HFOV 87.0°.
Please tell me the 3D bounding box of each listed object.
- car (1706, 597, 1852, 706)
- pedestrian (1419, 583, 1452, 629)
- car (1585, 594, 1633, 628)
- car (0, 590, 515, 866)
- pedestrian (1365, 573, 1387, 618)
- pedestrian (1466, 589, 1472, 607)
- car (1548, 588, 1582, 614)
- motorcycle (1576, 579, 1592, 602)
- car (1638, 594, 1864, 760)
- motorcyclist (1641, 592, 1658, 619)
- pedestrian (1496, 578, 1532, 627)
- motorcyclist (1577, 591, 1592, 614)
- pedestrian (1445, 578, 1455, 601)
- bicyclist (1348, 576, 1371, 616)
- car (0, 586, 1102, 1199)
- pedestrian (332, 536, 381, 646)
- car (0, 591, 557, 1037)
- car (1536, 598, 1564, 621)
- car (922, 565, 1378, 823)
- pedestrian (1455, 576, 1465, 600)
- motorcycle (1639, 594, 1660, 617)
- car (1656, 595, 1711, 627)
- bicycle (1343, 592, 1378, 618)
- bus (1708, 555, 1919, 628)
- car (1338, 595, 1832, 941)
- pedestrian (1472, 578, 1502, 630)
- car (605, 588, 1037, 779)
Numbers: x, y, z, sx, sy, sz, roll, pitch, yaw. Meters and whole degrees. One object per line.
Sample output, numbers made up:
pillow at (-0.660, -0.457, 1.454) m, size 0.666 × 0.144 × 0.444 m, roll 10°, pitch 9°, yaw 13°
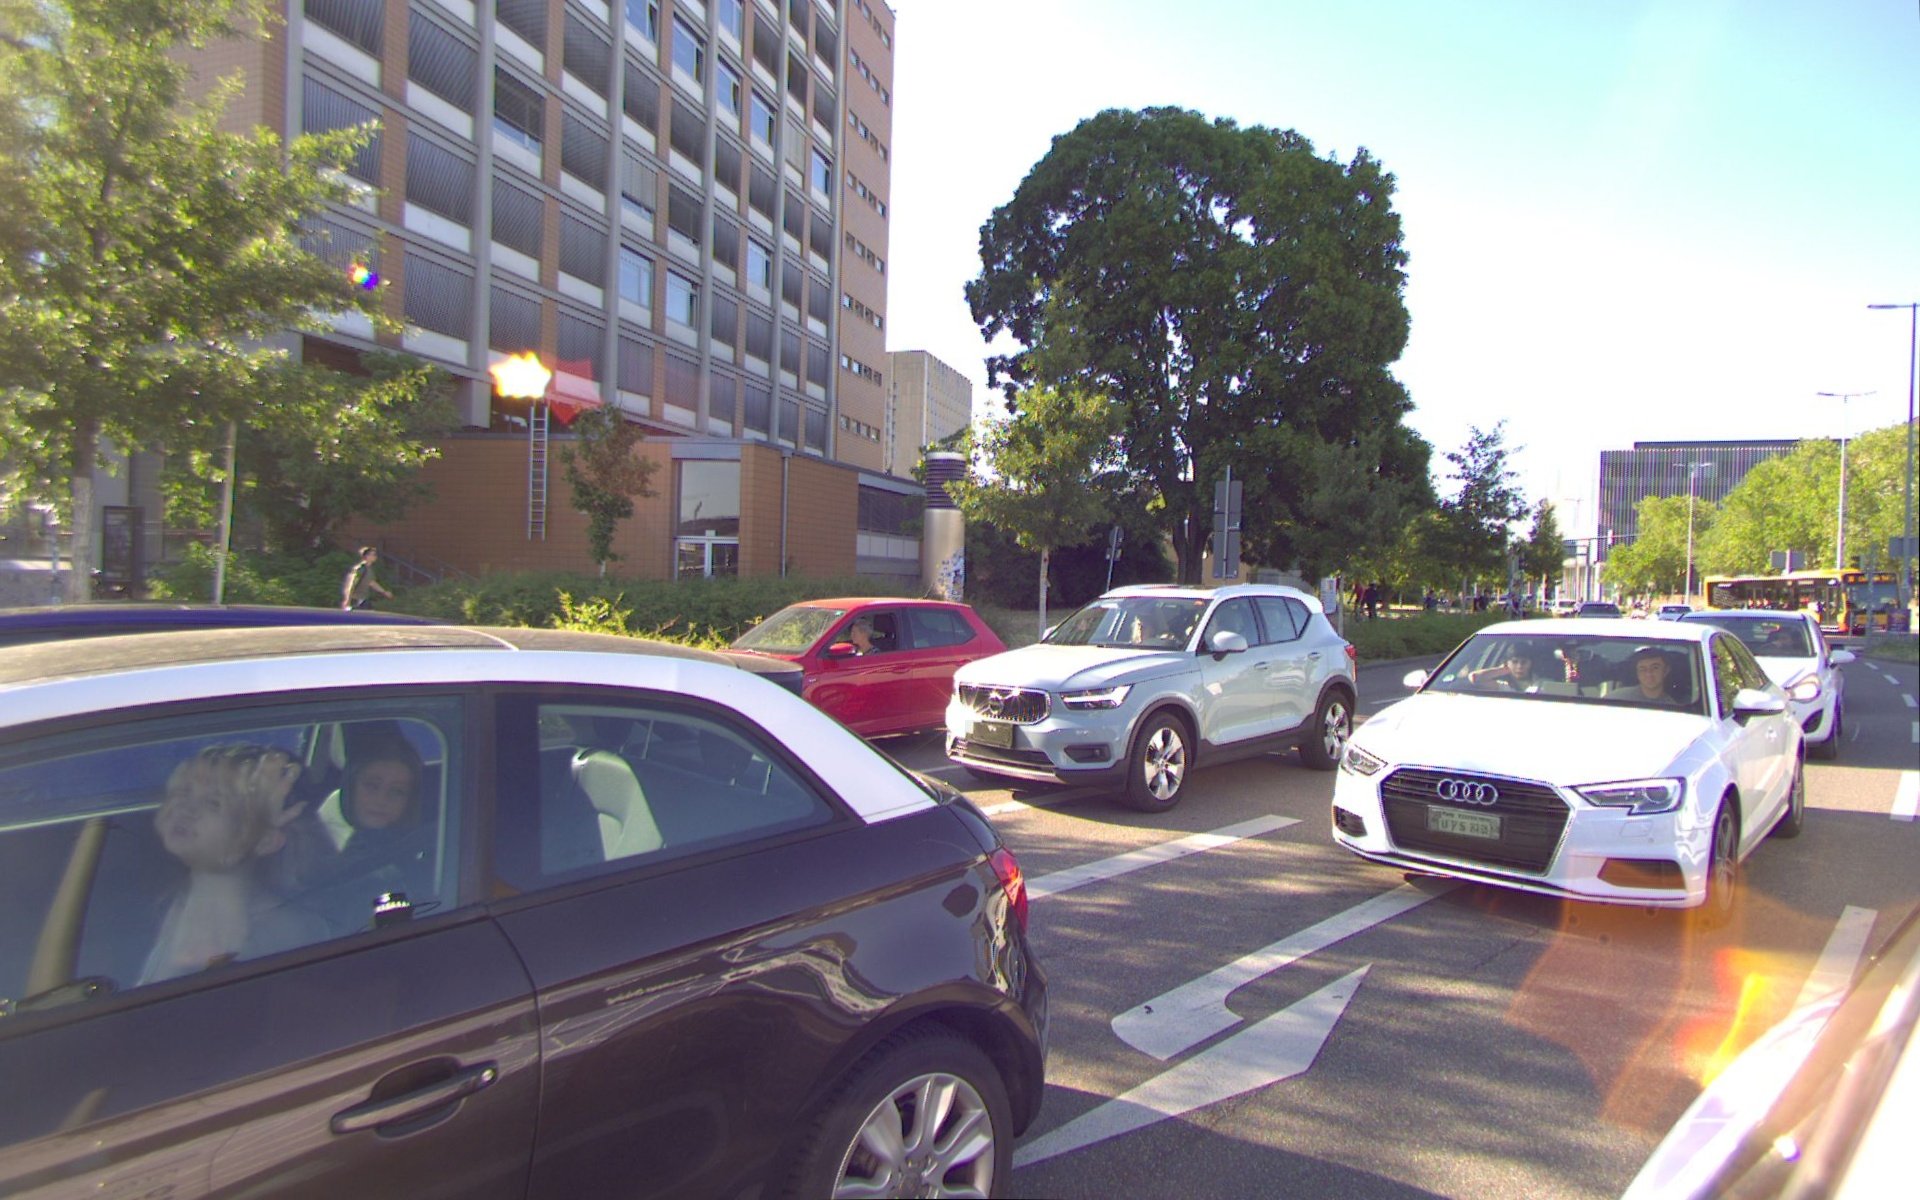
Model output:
car at (13.114, 0.712, 16.120) m, size 1.622 × 1.478 × 3.981 m, roll 0°, pitch 0°, yaw 42°
pedestrian at (18.401, 0.234, 39.163) m, size 1.005 × 1.742 × 0.873 m, roll 0°, pitch 0°, yaw 39°
car at (29.731, 0.473, 46.305) m, size 1.745 × 1.478 × 4.137 m, roll 0°, pitch 0°, yaw 34°
car at (-5.272, 0.660, 6.127) m, size 4.433 × 1.422 × 1.726 m, roll -1°, pitch 0°, yaw -41°
pedestrian at (15.081, -0.166, 36.709) m, size 0.593 × 1.615 × 0.586 m, roll 0°, pitch 0°, yaw 41°
pedestrian at (50.553, -0.190, 100.474) m, size 0.475 × 1.706 × 0.399 m, roll 1°, pitch 1°, yaw -41°
car at (42.512, 0.075, 71.122) m, size 1.730 × 1.727 × 3.962 m, roll 2°, pitch 1°, yaw 27°
motorcycle at (36.995, -0.580, 59.971) m, size 0.712 × 1.321 × 2.211 m, roll 0°, pitch 0°, yaw 30°
car at (8.876, 0.690, 11.225) m, size 1.623 × 1.478 × 3.979 m, roll 0°, pitch 1°, yaw 43°
motorcyclist at (40.225, 0.314, 59.031) m, size 0.704 × 1.610 × 0.684 m, roll 0°, pitch 0°, yaw 27°
pedestrian at (23.438, 0.107, 42.842) m, size 1.137 × 2.039 × 1.268 m, roll 0°, pitch 0°, yaw 39°
motorcyclist at (37.026, 0.155, 60.001) m, size 0.712 × 1.321 × 0.727 m, roll 0°, pitch 0°, yaw 32°
pedestrian at (33.213, -0.690, 68.590) m, size 0.543 × 1.549 × 0.598 m, roll 0°, pitch 0°, yaw 30°
bicyclist at (16.081, -0.177, 40.689) m, size 0.615 × 1.580 × 0.858 m, roll 0°, pitch 0°, yaw 41°
car at (-1.690, 0.696, 1.603) m, size 3.930 × 1.422 × 1.626 m, roll -1°, pitch 0°, yaw -41°
pedestrian at (-10.650, -0.163, 17.878) m, size 0.681 × 1.910 × 0.465 m, roll 0°, pitch 0°, yaw -24°
car at (-3.758, 0.687, 3.722) m, size 3.930 × 1.422 × 1.626 m, roll -1°, pitch 0°, yaw -41°
car at (48.419, 0.751, 83.095) m, size 1.730 × 1.727 × 3.962 m, roll 2°, pitch 1°, yaw 27°
car at (1.777, 0.571, 8.460) m, size 4.153 × 1.641 × 1.625 m, roll -1°, pitch 0°, yaw -43°
pedestrian at (33.751, -0.820, 68.332) m, size 0.543 × 1.627 × 0.598 m, roll 0°, pitch 0°, yaw 30°
motorcycle at (40.245, 0.303, 59.078) m, size 0.711 × 1.321 × 2.214 m, roll 0°, pitch 0°, yaw 27°
car at (35.266, 0.506, 49.412) m, size 1.741 × 1.478 × 4.146 m, roll 0°, pitch 0°, yaw 29°
bicycle at (16.100, 0.190, 40.696) m, size 0.657 × 0.975 × 2.005 m, roll 2°, pitch 2°, yaw 41°
bus at (43.229, -0.432, 51.576) m, size 3.038 × 3.252 × 12.505 m, roll 0°, pitch 1°, yaw 11°
car at (3.948, 0.691, 6.120) m, size 3.769 × 1.422 × 1.625 m, roll -1°, pitch 0°, yaw -43°
pedestrian at (20.785, 0.149, 39.890) m, size 0.891 × 2.039 × 0.870 m, roll 0°, pitch 0°, yaw 39°
car at (-1.189, 0.631, 9.845) m, size 3.974 × 1.478 × 1.625 m, roll -1°, pitch 0°, yaw -43°
